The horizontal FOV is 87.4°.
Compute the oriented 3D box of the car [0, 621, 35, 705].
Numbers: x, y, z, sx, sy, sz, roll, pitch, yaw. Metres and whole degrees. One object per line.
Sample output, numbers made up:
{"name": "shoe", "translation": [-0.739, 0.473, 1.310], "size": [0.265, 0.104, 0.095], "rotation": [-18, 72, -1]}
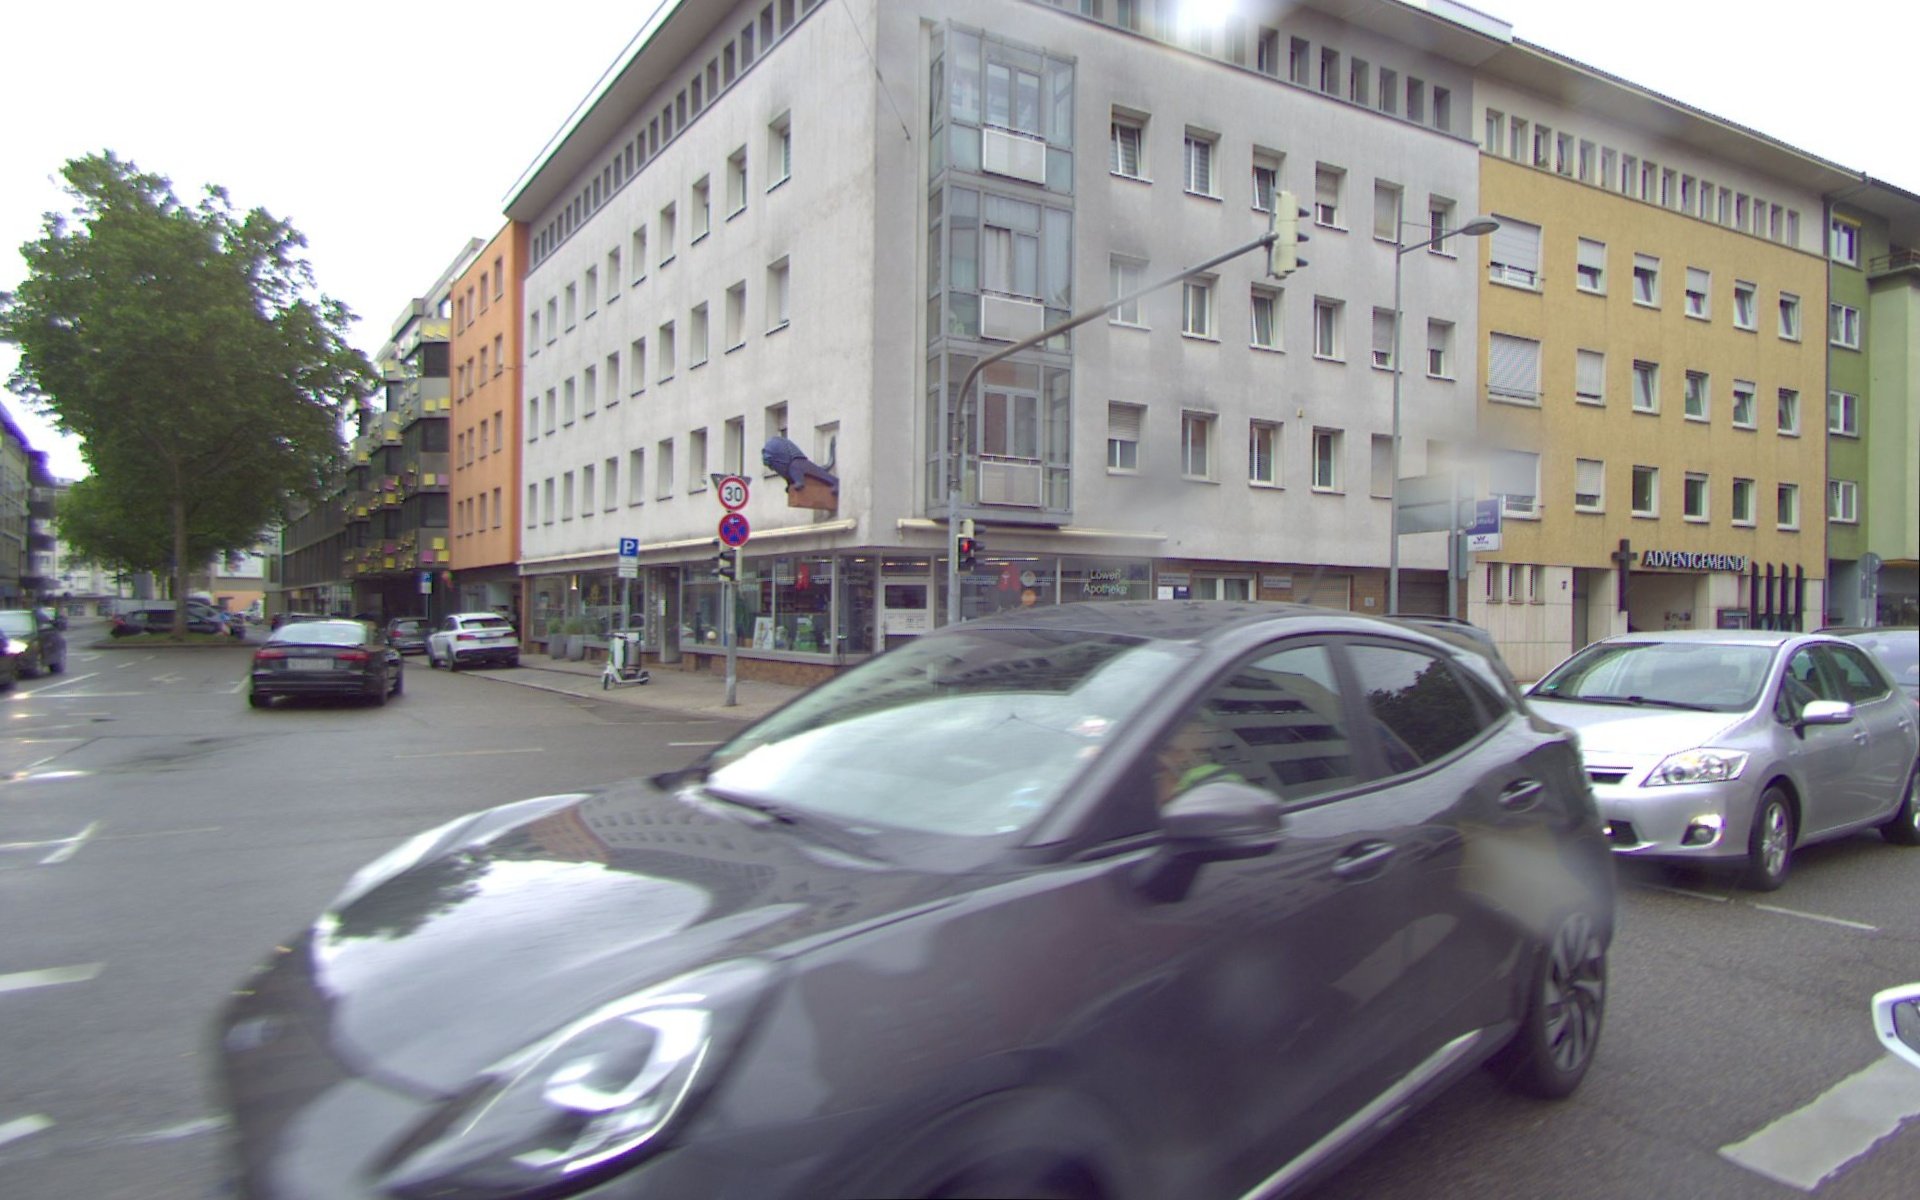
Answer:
{"name": "car", "translation": [-17.457, 1.116, 16.925], "size": [2.025, 1.395, 4.300], "rotation": [-1, 1, -33]}

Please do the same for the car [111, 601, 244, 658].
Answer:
{"name": "car", "translation": [-36.260, 1.306, 46.730], "size": [4.723, 2.337, 1.871], "rotation": [-2, 3, -36]}

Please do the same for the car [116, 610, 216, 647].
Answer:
{"name": "car", "translation": [-41.770, 1.483, 52.963], "size": [3.961, 1.684, 1.871], "rotation": [-2, 3, -36]}

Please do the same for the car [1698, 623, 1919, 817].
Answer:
{"name": "car", "translation": [9.685, 1.087, 10.282], "size": [4.377, 1.629, 1.813], "rotation": [2, -1, -29]}

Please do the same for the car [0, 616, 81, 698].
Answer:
{"name": "car", "translation": [-21.432, 1.224, 22.492], "size": [2.025, 1.611, 4.611], "rotation": [-1, 1, -34]}

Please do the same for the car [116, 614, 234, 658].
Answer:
{"name": "car", "translation": [-34.631, 1.546, 44.462], "size": [3.961, 1.684, 1.871], "rotation": [-2, 3, -36]}

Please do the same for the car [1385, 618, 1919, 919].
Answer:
{"name": "car", "translation": [5.131, 0.940, 7.143], "size": [4.090, 1.547, 1.923], "rotation": [2, -1, -33]}

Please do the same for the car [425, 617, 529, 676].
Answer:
{"name": "car", "translation": [-14.862, 1.364, 30.774], "size": [2.028, 1.653, 4.293], "rotation": [1, -1, -38]}

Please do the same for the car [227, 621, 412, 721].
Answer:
{"name": "car", "translation": [-10.879, 1.139, 17.409], "size": [1.972, 1.406, 4.474], "rotation": [2, -1, -24]}

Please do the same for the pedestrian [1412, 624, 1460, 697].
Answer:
{"name": "pedestrian", "translation": [10.845, 1.363, 22.884], "size": [0.643, 1.603, 0.684], "rotation": [0, 2, -25]}

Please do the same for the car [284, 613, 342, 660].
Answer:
{"name": "car", "translation": [-23.914, 1.341, 37.142], "size": [1.680, 1.648, 3.964], "rotation": [1, -2, -33]}

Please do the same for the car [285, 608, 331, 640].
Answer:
{"name": "car", "translation": [-32.285, 1.154, 49.704], "size": [1.834, 1.491, 3.800], "rotation": [1, 0, -35]}

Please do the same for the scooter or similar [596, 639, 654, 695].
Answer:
{"name": "scooter or similar", "translation": [-7.269, 1.443, 21.804], "size": [0.360, 1.109, 1.129], "rotation": [-1, 1, 40]}

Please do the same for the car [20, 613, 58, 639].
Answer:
{"name": "car", "translation": [-65.368, 1.836, 71.357], "size": [1.777, 1.595, 3.953], "rotation": [0, 2, -40]}

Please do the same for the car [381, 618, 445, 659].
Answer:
{"name": "car", "translation": [-21.777, 1.491, 39.919], "size": [1.834, 1.491, 3.800], "rotation": [1, 0, -35]}

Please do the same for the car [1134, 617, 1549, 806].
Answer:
{"name": "car", "translation": [4.146, 1.056, 10.761], "size": [4.320, 1.661, 1.813], "rotation": [2, -1, -29]}

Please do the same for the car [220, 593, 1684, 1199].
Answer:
{"name": "car", "translation": [0.431, 0.821, 3.012], "size": [4.191, 1.573, 1.841], "rotation": [1, -1, -40]}
